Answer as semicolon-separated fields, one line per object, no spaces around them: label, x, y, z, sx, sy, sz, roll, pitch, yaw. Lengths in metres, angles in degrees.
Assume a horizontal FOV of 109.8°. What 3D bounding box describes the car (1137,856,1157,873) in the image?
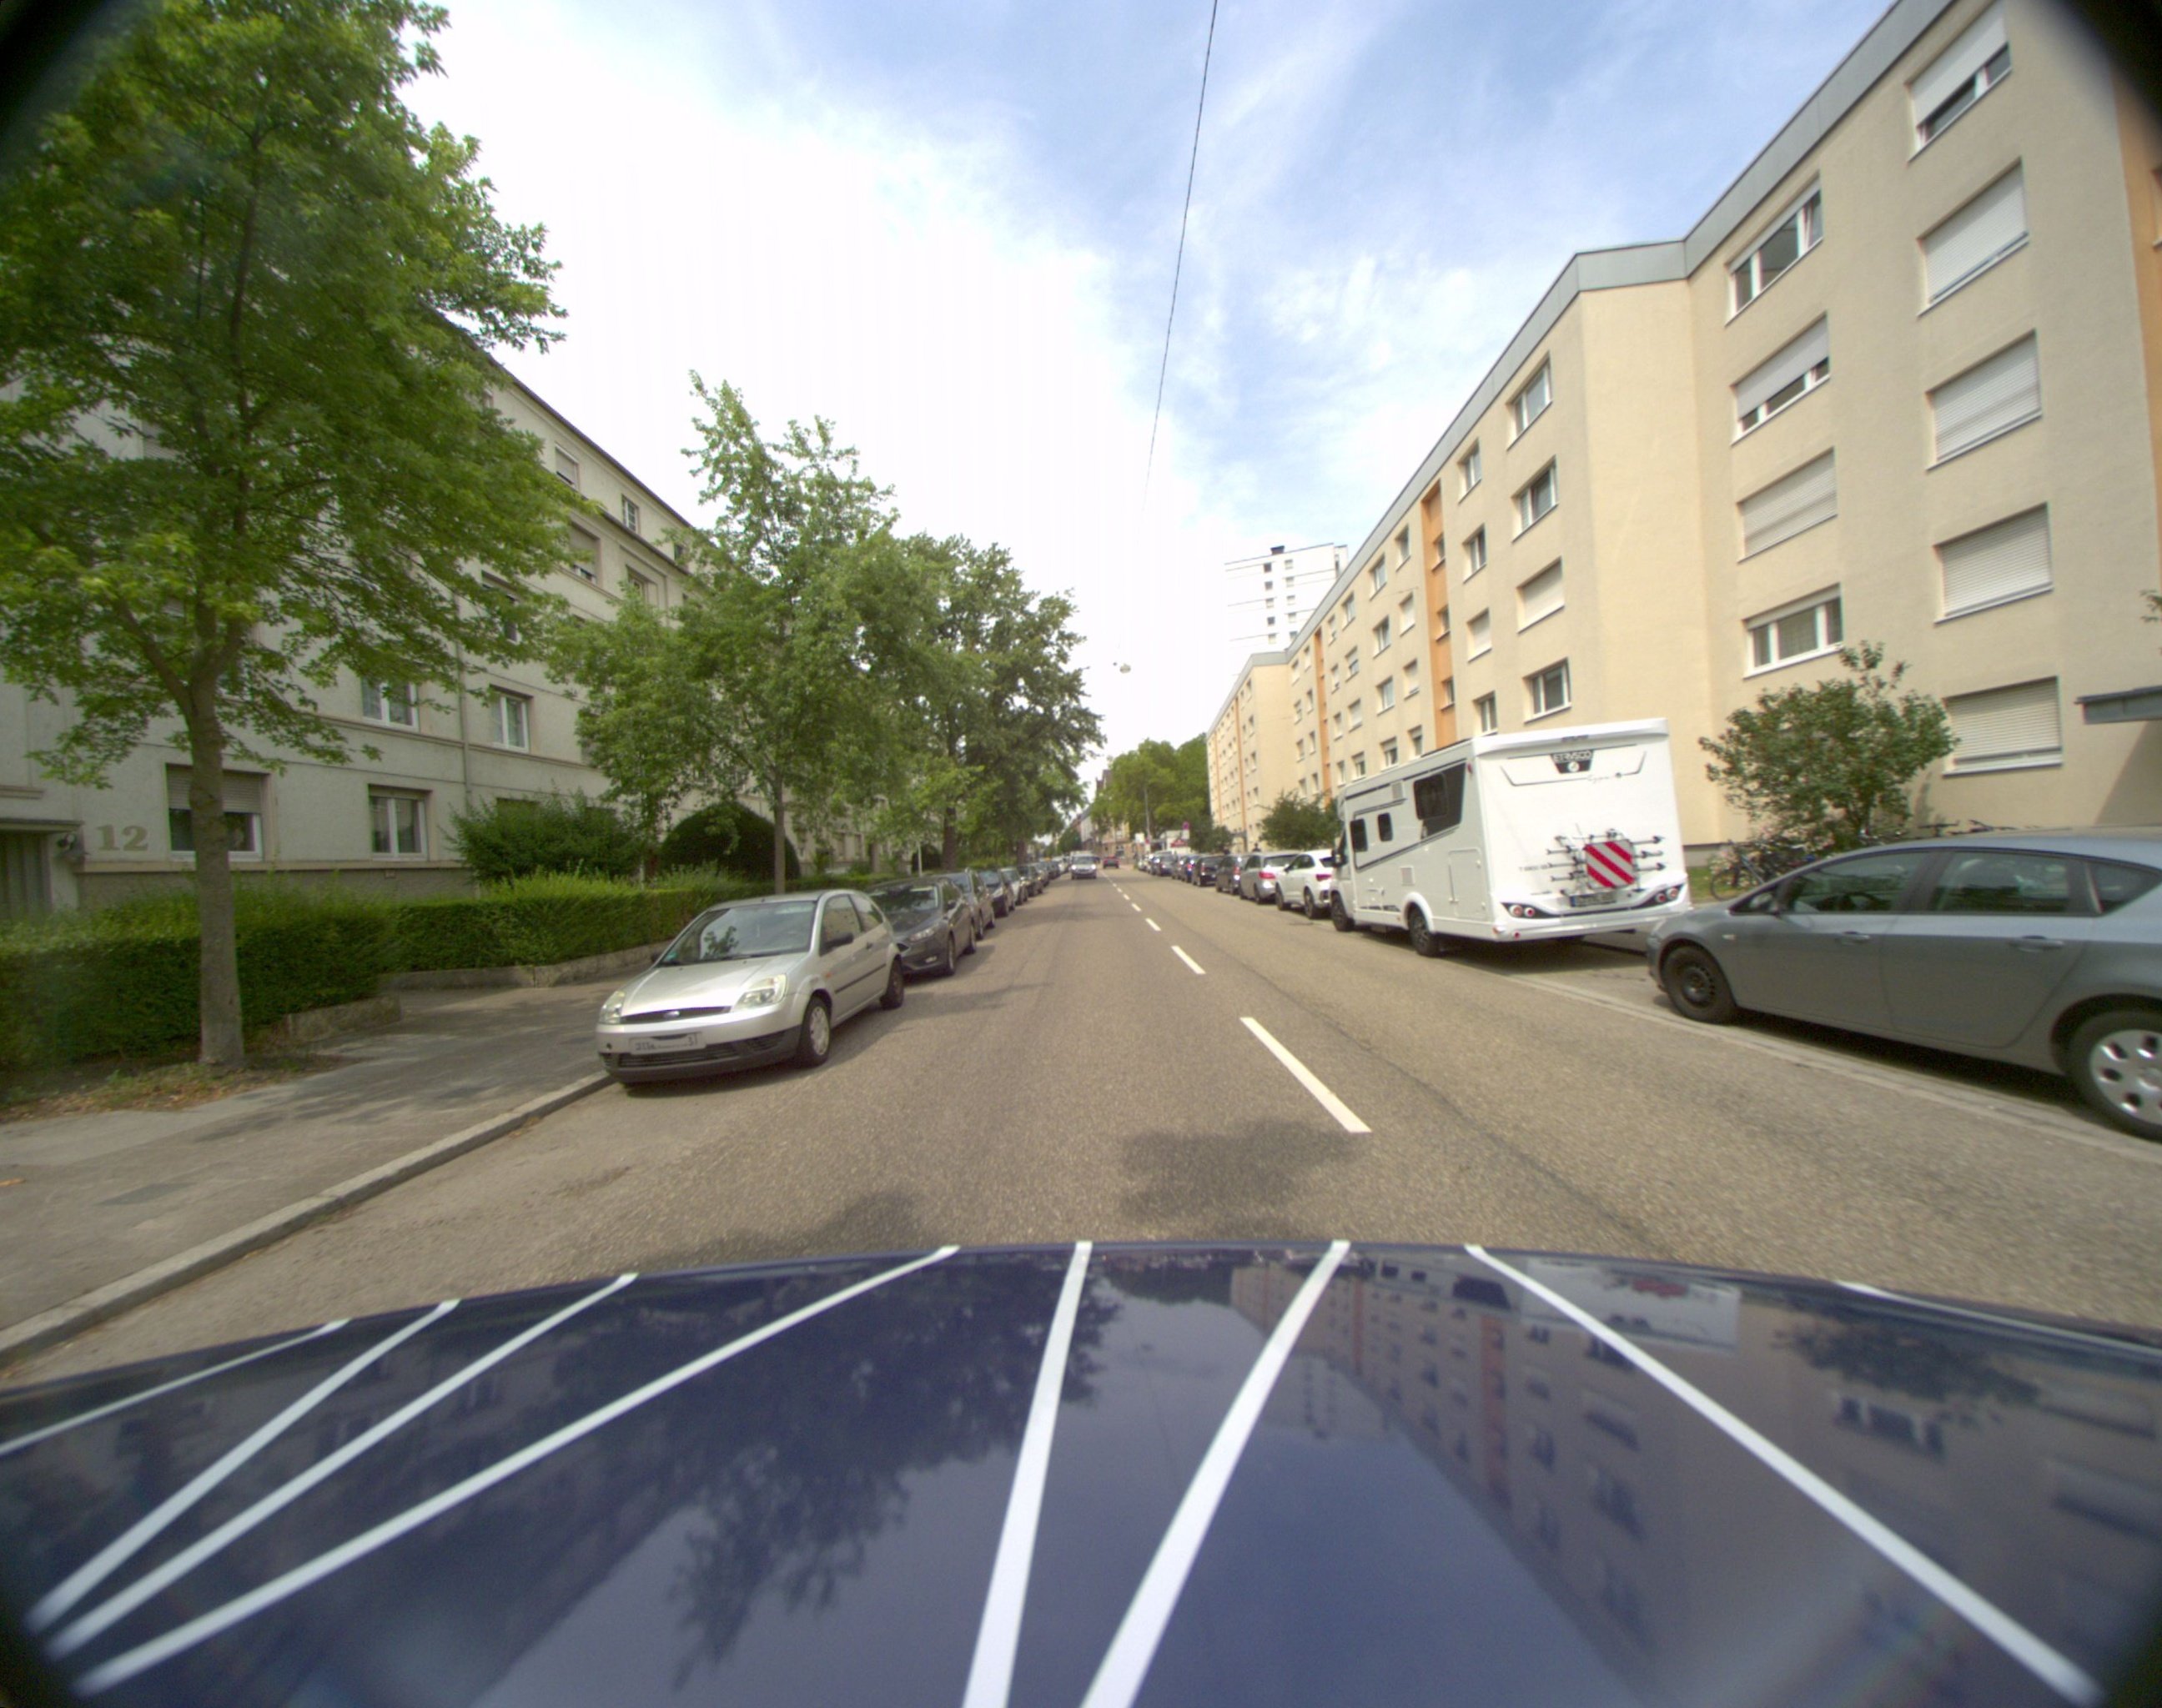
car;6.489;0.985;74.891;1.712;1.464;3.989;-5;0;2

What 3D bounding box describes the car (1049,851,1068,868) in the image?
car;-2.276;0.585;78.657;1.608;1.598;3.805;-5;0;2

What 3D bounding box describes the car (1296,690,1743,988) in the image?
car;5.740;-0.168;11.829;2.517;3.006;7.396;-4;0;0

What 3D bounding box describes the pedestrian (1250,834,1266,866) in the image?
pedestrian;10.200;-0.231;43.824;0.621;1.802;0.803;-2;1;-2

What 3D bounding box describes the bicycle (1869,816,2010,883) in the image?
bicycle;13.647;-0.057;12.148;0.397;0.973;1.686;-3;-1;4

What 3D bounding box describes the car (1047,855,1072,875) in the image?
car;-1.762;0.900;63.464;1.701;1.461;4.101;-5;0;1

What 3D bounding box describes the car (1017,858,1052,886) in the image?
car;-2.709;1.028;45.337;1.701;1.461;4.717;-5;0;0

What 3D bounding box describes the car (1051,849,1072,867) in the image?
car;-2.106;0.421;83.679;1.922;1.854;4.846;-5;0;2

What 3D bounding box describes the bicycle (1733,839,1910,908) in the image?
bicycle;11.830;0.296;12.279;0.454;0.974;2.446;-3;-1;1

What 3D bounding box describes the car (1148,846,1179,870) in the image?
car;6.371;0.271;59.111;1.947;1.603;4.862;-5;0;2

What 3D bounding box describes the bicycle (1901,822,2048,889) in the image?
bicycle;14.187;0.029;12.130;0.397;0.973;1.686;-3;-1;4

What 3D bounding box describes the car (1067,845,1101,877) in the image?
car;0.143;0.493;54.117;2.082;2.039;4.679;-3;0;-2

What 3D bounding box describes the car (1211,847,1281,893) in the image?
car;6.217;0.593;29.082;1.727;1.530;4.004;-3;-1;-1

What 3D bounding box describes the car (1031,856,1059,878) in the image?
car;-2.683;0.960;57.955;1.701;1.461;4.560;-5;0;1

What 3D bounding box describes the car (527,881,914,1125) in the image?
car;-2.991;1.127;7.385;1.663;1.448;4.036;-5;0;1

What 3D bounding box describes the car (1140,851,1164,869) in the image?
car;6.489;0.532;69.908;1.713;1.464;3.988;-5;0;-1

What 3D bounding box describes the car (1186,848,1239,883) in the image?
car;6.162;0.503;36.050;1.822;1.474;4.116;-4;0;2

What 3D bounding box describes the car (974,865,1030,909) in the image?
car;-2.926;1.194;28.877;1.663;1.460;3.726;-3;-1;0

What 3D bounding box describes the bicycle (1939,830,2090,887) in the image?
bicycle;14.779;0.075;12.098;0.397;0.820;1.686;-3;-1;4

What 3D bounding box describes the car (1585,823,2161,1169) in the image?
car;5.706;0.621;4.960;1.693;1.487;4.593;-4;0;0

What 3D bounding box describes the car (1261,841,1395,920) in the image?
car;5.842;0.553;18.598;1.693;1.570;4.593;-4;0;0

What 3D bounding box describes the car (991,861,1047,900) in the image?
car;-2.733;1.151;34.515;1.784;1.461;4.615;-5;0;4

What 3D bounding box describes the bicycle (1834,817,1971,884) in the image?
bicycle;13.048;-0.041;12.138;0.397;0.973;1.679;-3;-1;4

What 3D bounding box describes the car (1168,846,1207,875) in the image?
car;6.413;0.391;46.174;1.674;1.552;3.851;-5;0;0

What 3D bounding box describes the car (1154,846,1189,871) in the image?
car;6.327;0.299;53.649;1.947;1.603;4.302;-5;0;1

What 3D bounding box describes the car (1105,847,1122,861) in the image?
car;3.871;0.022;92.340;1.823;1.576;4.436;-2;0;0

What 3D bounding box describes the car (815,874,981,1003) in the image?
car;-2.721;1.177;12.279;1.621;1.461;4.390;-5;0;-2

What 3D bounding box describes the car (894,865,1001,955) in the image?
car;-2.917;1.159;17.467;1.663;1.573;4.285;-6;0;-1

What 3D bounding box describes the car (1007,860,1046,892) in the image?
car;-2.809;1.115;40.114;1.674;1.392;3.851;-5;0;0

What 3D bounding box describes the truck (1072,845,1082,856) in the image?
truck;-1.124;-0.927;209.780;2.548;3.089;7.018;-1;0;-2

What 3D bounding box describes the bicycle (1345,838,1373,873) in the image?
bicycle;11.591;0.076;31.688;0.463;1.385;2.131;-3;-1;4

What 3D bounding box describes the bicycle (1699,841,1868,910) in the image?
bicycle;11.239;0.329;12.296;0.454;0.974;2.446;-3;-1;1

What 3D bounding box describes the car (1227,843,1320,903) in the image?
car;5.926;0.541;23.971;1.759;1.570;4.568;-4;0;1

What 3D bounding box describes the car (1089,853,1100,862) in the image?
car;2.442;0.603;140.714;1.956;1.512;4.613;-1;0;1

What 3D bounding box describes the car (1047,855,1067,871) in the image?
car;-2.310;0.861;74.070;1.701;1.441;4.100;-4;0;-1

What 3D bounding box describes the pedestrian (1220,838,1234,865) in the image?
pedestrian;9.897;-0.180;51.430;0.621;1.802;0.899;-4;1;-2

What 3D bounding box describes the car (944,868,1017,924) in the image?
car;-2.988;1.231;23.311;1.663;1.460;3.890;-3;-1;0

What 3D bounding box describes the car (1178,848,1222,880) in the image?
car;6.366;0.497;40.943;1.822;1.474;3.885;-4;0;3

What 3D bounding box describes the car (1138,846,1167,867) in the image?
car;6.051;0.236;64.738;1.702;1.603;4.476;-5;0;-3

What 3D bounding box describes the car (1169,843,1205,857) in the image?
car;13.967;-0.511;100.358;4.640;1.676;1.850;-2;0;7
